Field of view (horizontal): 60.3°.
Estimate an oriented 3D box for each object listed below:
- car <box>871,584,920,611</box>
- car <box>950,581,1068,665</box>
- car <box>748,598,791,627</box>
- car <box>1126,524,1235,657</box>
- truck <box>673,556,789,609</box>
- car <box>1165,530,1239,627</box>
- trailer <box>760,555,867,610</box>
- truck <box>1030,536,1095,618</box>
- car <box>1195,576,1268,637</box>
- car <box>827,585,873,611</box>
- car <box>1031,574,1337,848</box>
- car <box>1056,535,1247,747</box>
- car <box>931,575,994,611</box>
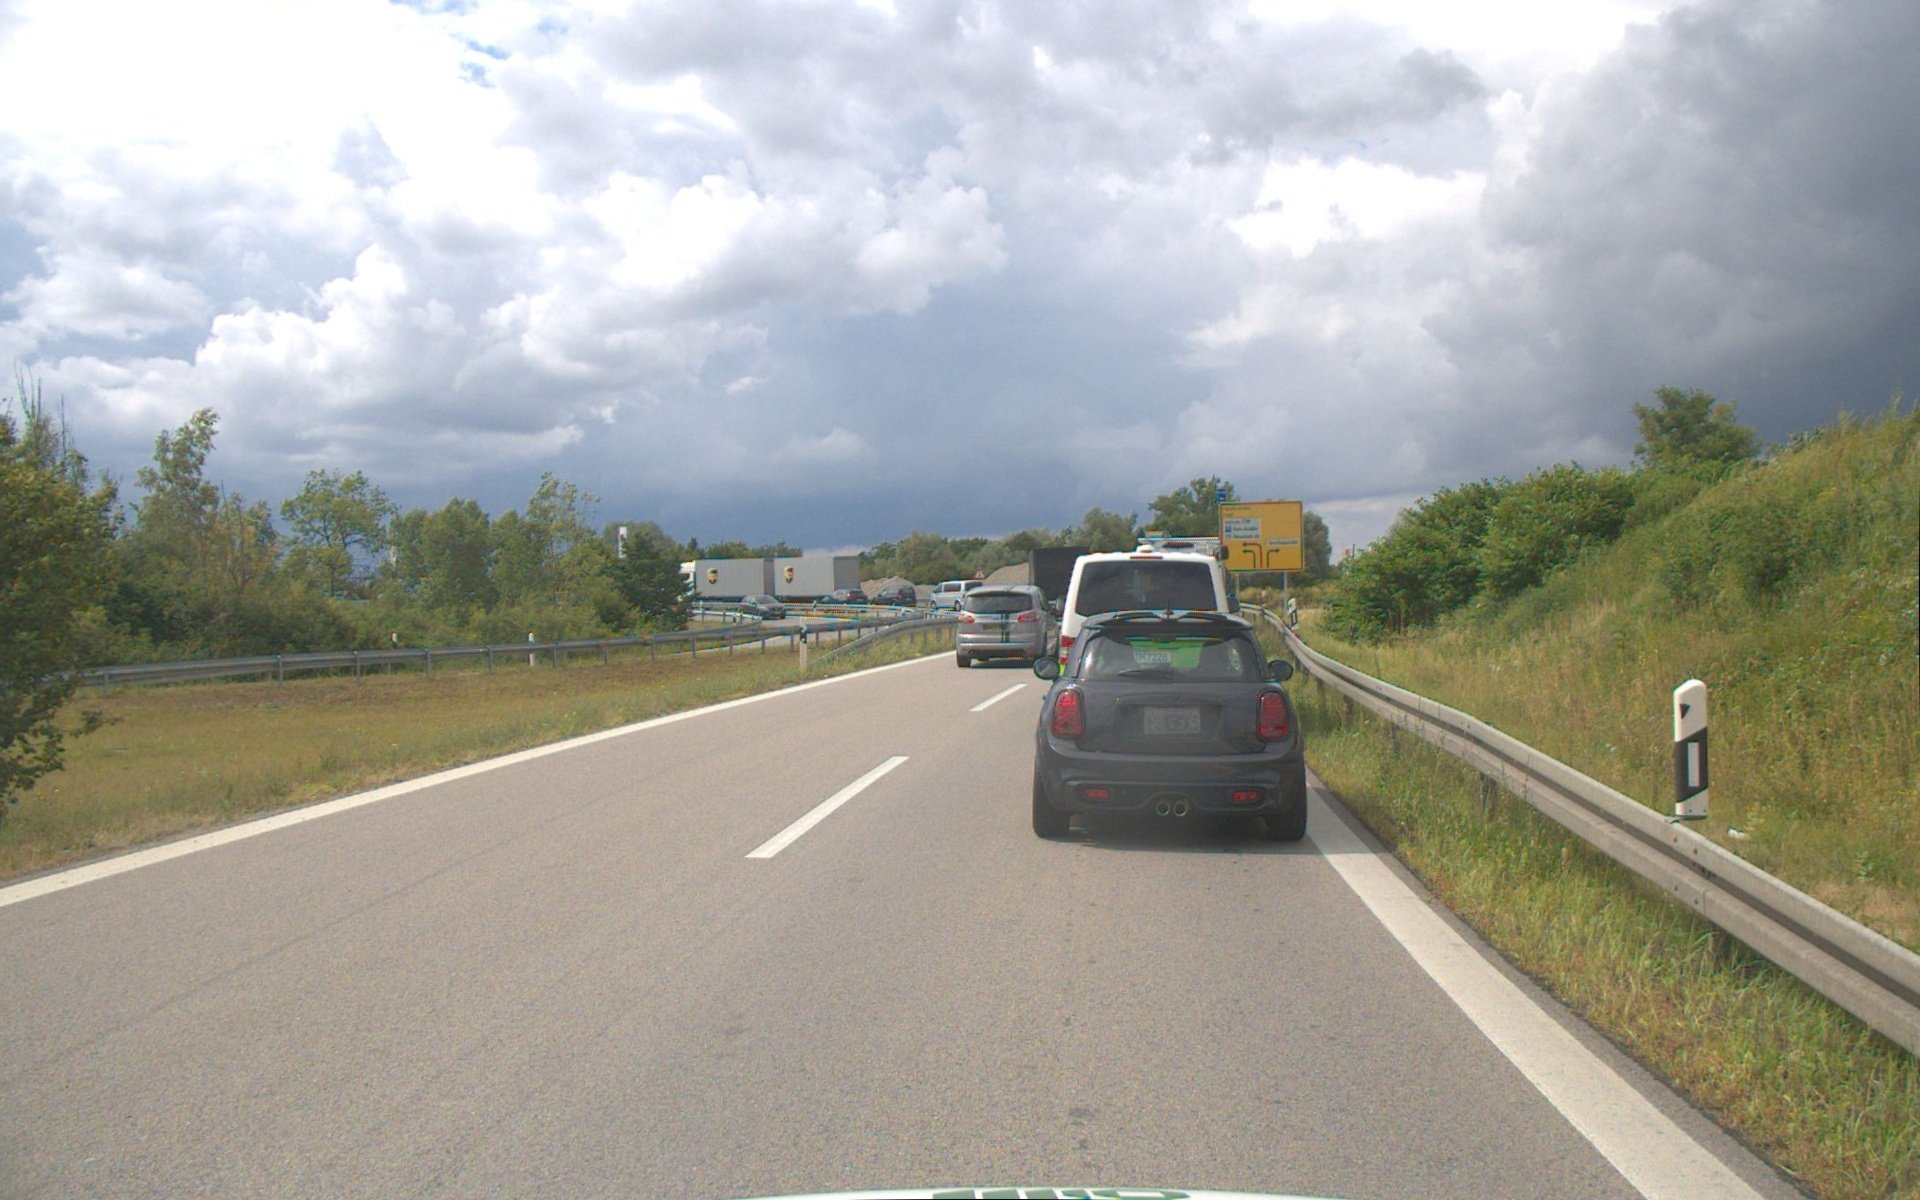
[{"bbox_3d":[-4.656,-0.149,118.832,1.899,1.870,4.278,2,-1,-28],"label":"car"},{"bbox_3d":[1.105,0.475,34.680,1.978,1.605,4.590,-1,-1,8],"label":"car"},{"bbox_3d":[-11.944,0.792,103.493,1.734,1.621,3.976,-2,-1,-20],"label":"car"},{"bbox_3d":[4.840,-0.151,36.376,2.164,2.668,5.538,1,-1,7],"label":"car"},{"bbox_3d":[-18.115,-1.370,130.398,9.827,4.046,2.835,0,-1,36],"label":"truck"},{"bbox_3d":[8.443,-0.647,57.231,2.261,3.122,6.667,1,-1,10],"label":"car"},{"bbox_3d":[-11.085,-1.314,124.533,8.622,3.966,3.025,0,-1,44],"label":"trailer"},{"bbox_3d":[4.273,-0.863,70.115,2.507,3.223,7.469,1,-1,2],"label":"truck"},{"bbox_3d":[7.853,0.208,48.185,1.951,1.671,3.931,1,-1,7],"label":"car"},{"bbox_3d":[-7.766,-0.141,116.742,1.792,1.786,3.963,2,-1,-28],"label":"car"},{"bbox_3d":[1.437,0.646,11.522,1.762,1.573,3.740,1,0,4],"label":"car"},{"bbox_3d":[2.141,0.416,18.441,1.870,2.081,4.184,0,0,7],"label":"car"},{"bbox_3d":[0.164,-0.439,111.404,2.261,2.300,5.065,1,-1,-26],"label":"car"}]
